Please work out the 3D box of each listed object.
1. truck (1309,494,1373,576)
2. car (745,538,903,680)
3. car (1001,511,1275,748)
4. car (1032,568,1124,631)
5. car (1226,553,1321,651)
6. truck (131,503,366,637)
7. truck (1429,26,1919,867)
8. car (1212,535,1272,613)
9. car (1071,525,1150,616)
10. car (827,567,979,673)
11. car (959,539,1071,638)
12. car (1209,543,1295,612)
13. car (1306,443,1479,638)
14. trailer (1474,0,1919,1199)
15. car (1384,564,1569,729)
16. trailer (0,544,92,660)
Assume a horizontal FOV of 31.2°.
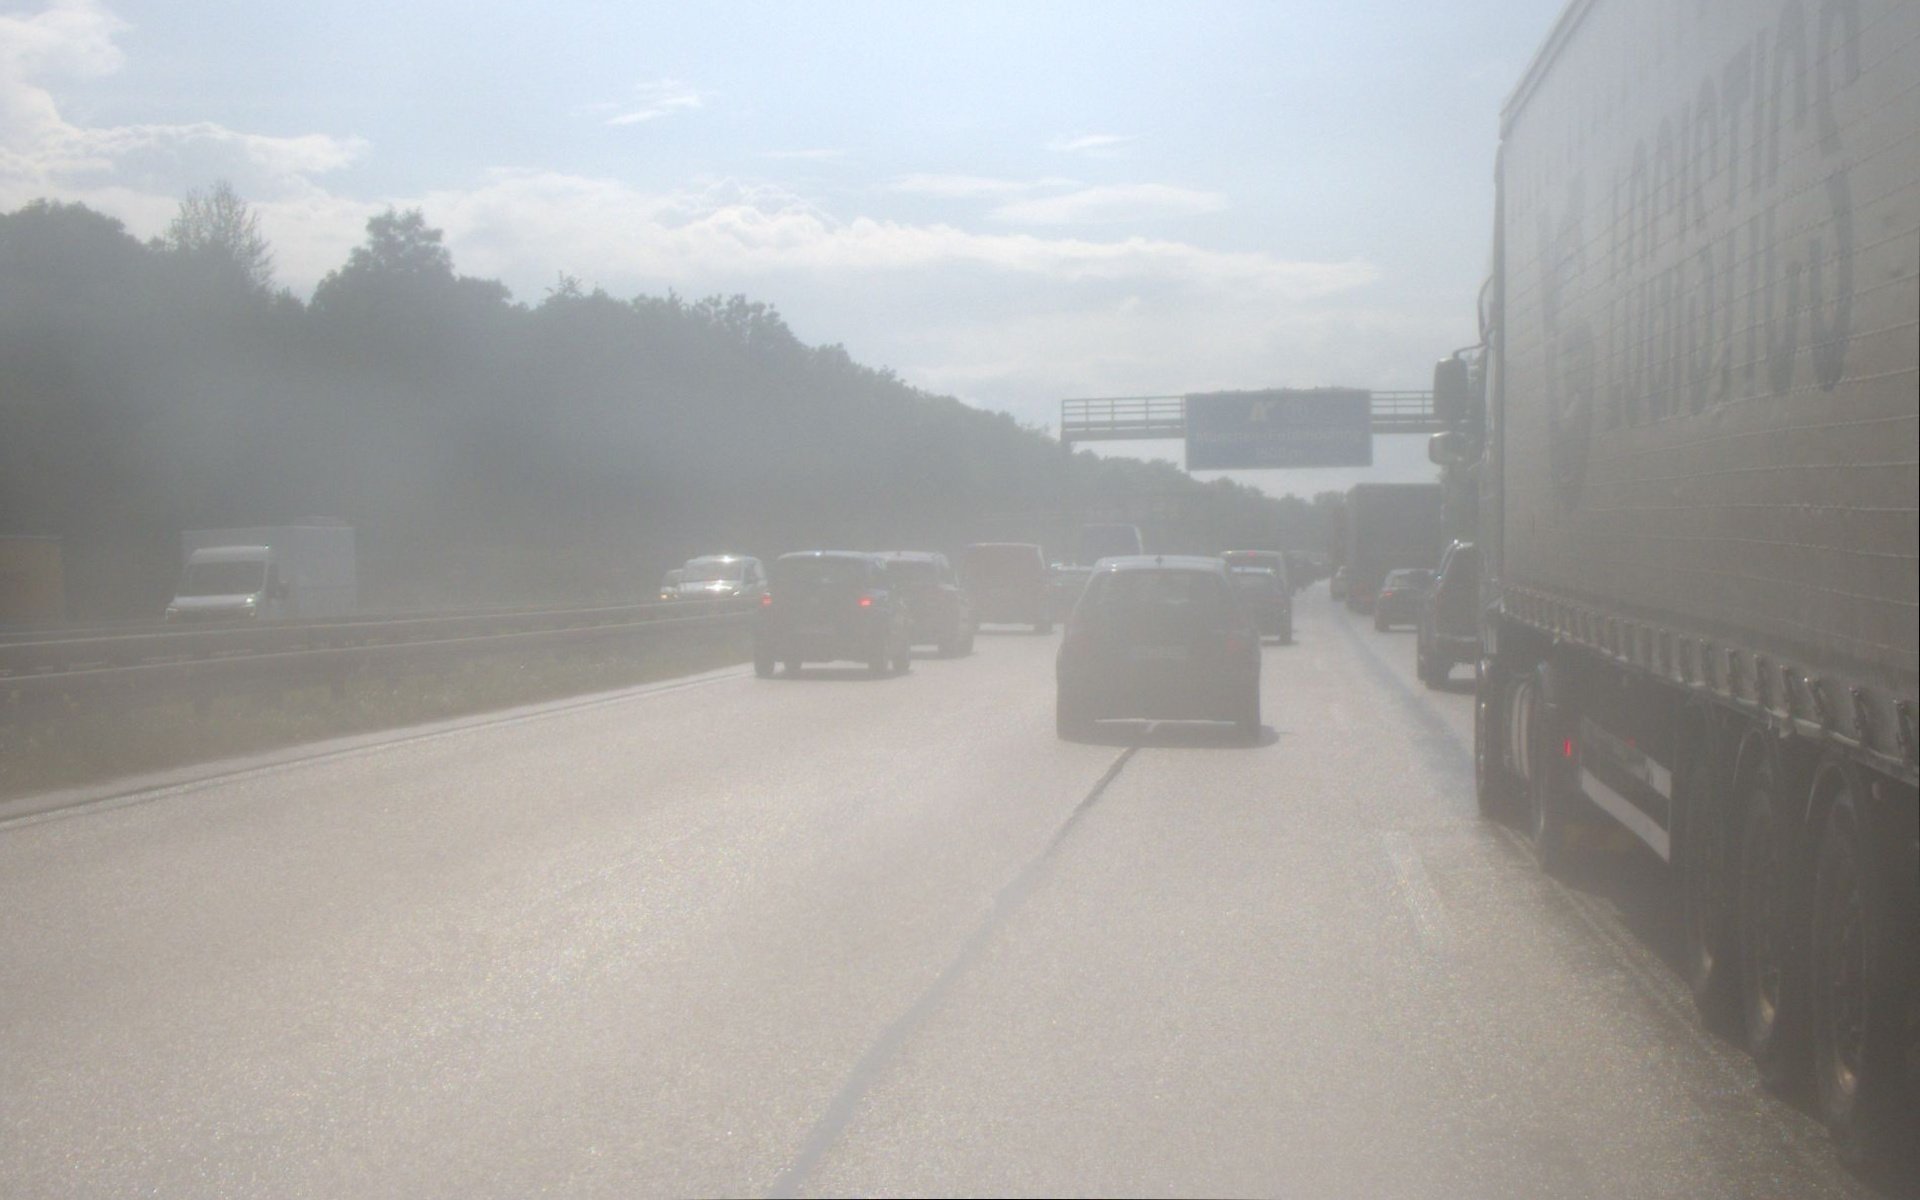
[{"bbox_3d":[17.466,-2.941,157.661,2.776,3.619,5.915,1,0,6],"label":"truck"},{"bbox_3d":[-1.780,0.114,46.195,1.692,1.798,3.975,1,0,4],"label":"car"},{"bbox_3d":[1.665,0.243,31.302,2.274,1.948,4.820,1,0,4],"label":"car"},{"bbox_3d":[3.045,-0.015,88.111,1.994,1.559,4.755,1,0,6],"label":"car"},{"bbox_3d":[5.982,0.031,65.950,1.692,1.798,3.975,1,0,4],"label":"car"},{"bbox_3d":[-15.064,-0.610,73.384,2.843,2.673,7.190,1,0,6],"label":"truck"},{"bbox_3d":[4.485,-0.735,19.124,3.285,3.877,6.395,1,1,5],"label":"truck"},{"bbox_3d":[10.241,-0.914,124.435,1.994,2.737,5.258,1,0,6],"label":"car"},{"bbox_3d":[4.511,-0.849,102.506,1.994,2.606,5.258,1,0,6],"label":"car"},{"bbox_3d":[-0.874,0.312,55.811,1.909,1.631,4.615,-1,0,6],"label":"car"},{"bbox_3d":[1.233,-0.246,74.610,1.979,2.047,4.755,1,0,6],"label":"car"},{"bbox_3d":[6.726,-0.508,79.466,1.865,1.511,3.975,1,0,3],"label":"car"},{"bbox_3d":[13.862,-1.813,111.972,4.404,5.810,16.816,1,0,3],"label":"car"},{"bbox_3d":[3.998,-0.534,12.114,3.284,3.885,14.126,1,1,5],"label":"trailer"},{"bbox_3d":[6.461,0.549,43.521,1.942,1.912,5.651,1,0,5],"label":"car"},{"bbox_3d":[-35.632,0.033,121.472,3.791,4.103,11.714,1,0,19],"label":"trailer"}]
